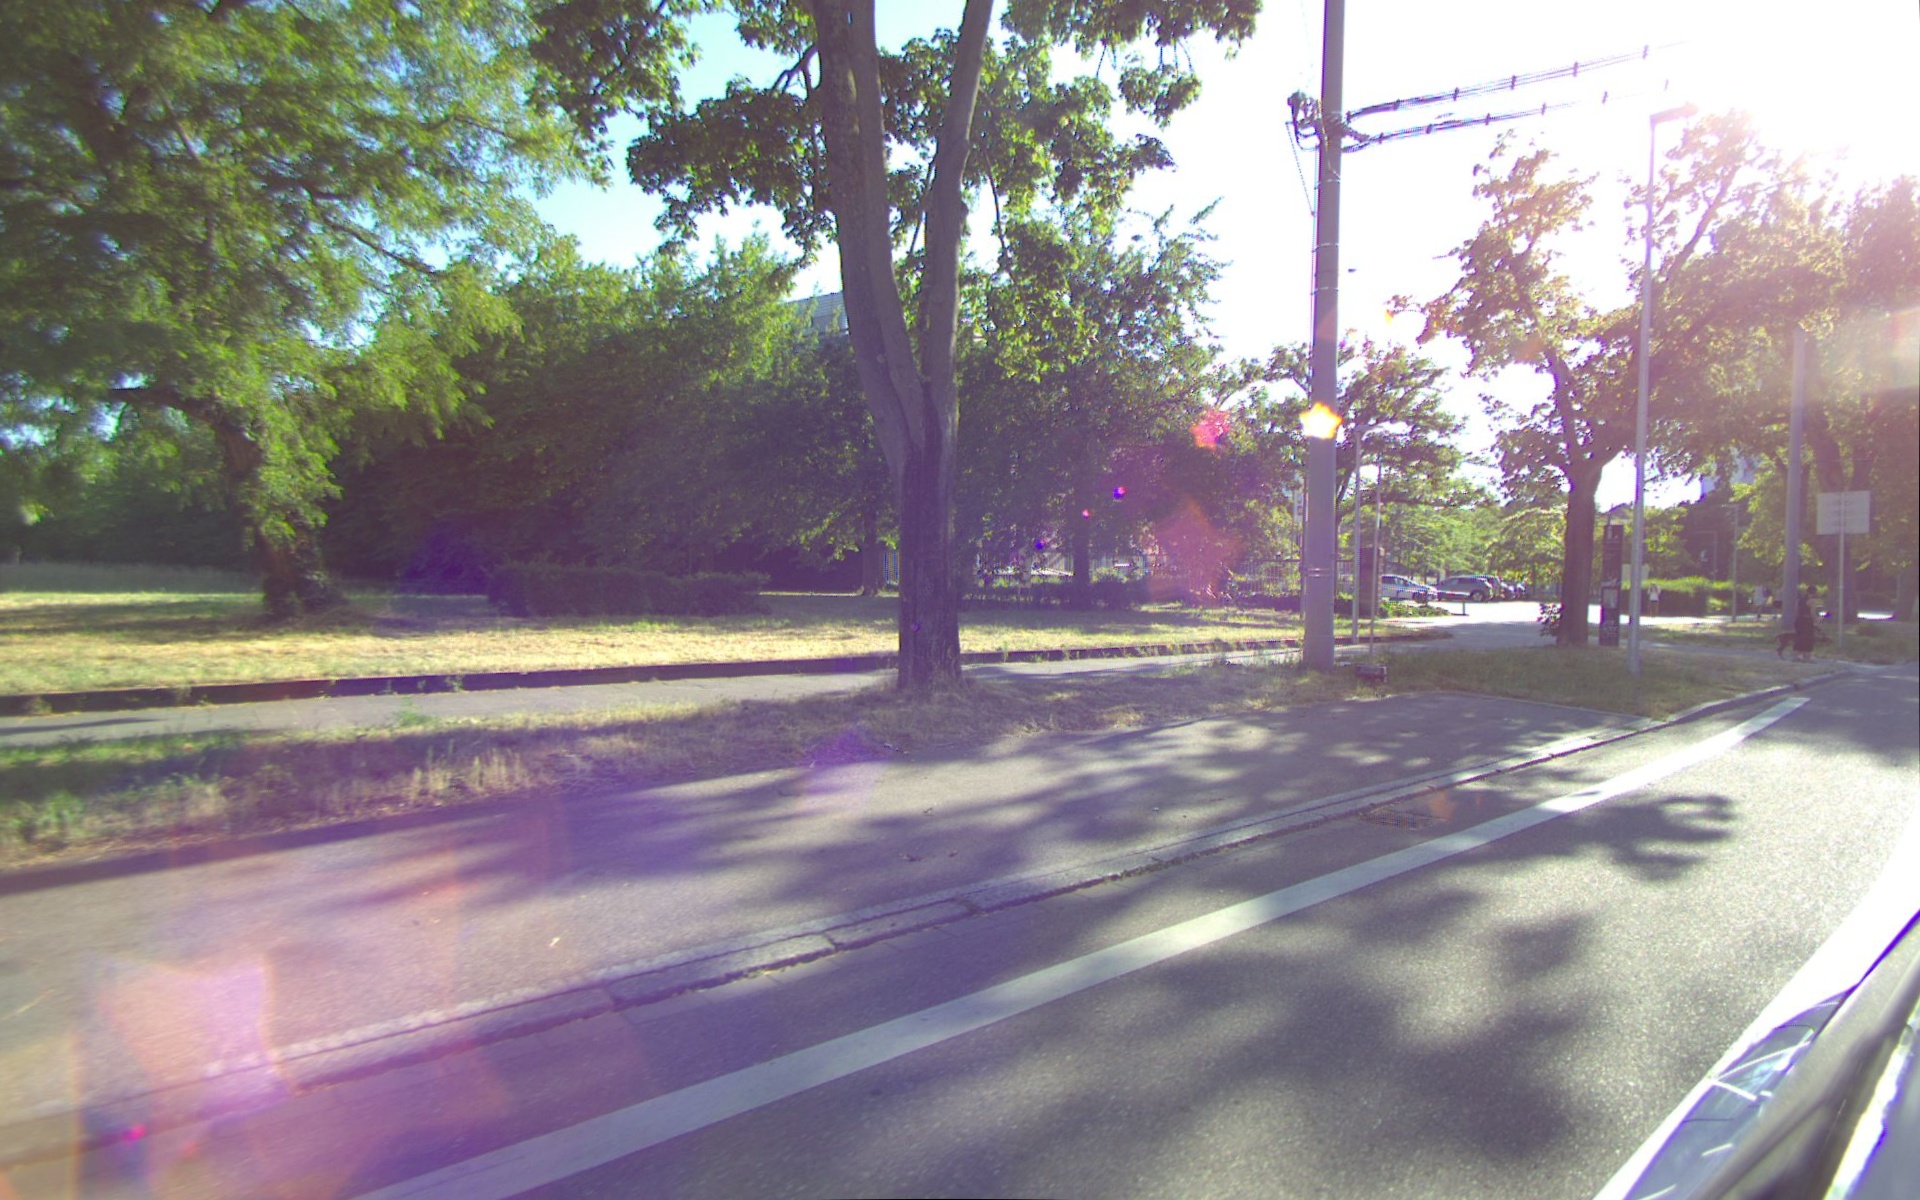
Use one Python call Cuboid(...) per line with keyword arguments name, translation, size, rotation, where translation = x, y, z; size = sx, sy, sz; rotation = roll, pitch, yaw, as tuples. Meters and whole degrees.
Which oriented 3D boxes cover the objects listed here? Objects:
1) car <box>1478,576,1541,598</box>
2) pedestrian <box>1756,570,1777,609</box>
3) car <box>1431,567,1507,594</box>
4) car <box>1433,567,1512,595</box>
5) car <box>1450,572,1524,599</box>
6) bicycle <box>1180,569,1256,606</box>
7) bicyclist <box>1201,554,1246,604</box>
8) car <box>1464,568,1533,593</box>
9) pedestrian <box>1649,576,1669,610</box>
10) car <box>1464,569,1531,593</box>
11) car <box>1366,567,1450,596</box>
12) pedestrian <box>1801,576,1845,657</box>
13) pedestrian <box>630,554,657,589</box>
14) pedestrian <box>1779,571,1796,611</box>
Cuboid(name="car", translation=(44.641, -1.052, 82.298), size=(4.350, 1.646, 1.782), rotation=(2, 2, 29))
Cuboid(name="pedestrian", translation=(38.788, -0.494, 48.651), size=(0.555, 1.864, 0.645), rotation=(0, 2, -41))
Cuboid(name="car", translation=(33.434, -1.286, 66.496), size=(4.350, 1.646, 1.782), rotation=(2, 2, 29))
Cuboid(name="car", translation=(32.159, -1.206, 63.546), size=(4.350, 1.646, 1.782), rotation=(2, 2, 29))
Cuboid(name="car", translation=(35.465, -1.012, 68.192), size=(4.350, 1.646, 1.782), rotation=(2, 2, 29))
Cuboid(name="bicycle", translation=(8.351, -0.403, 32.784), size=(2.277, 1.069, 0.611), rotation=(4, 3, 36))
Cuboid(name="bicyclist", translation=(8.494, -0.683, 32.675), size=(1.199, 1.558, 0.611), rotation=(4, 2, 36))
Cuboid(name="car", translation=(38.848, -1.411, 73.085), size=(4.350, 1.646, 1.782), rotation=(2, 2, 29))
Cuboid(name="pedestrian", translation=(30.213, -0.318, 43.750), size=(0.504, 1.460, 0.549), rotation=(0, 2, -42))
Cuboid(name="car", translation=(39.982, -1.447, 75.366), size=(4.350, 1.646, 1.782), rotation=(2, 2, 29))
Cuboid(name="car", translation=(25.572, -1.058, 57.791), size=(4.119, 1.529, 1.779), rotation=(3, 2, 33))
Cuboid(name="pedestrian", translation=(18.532, 0.344, 21.733), size=(0.527, 1.683, 0.483), rotation=(4, 2, 28))
Cuboid(name="pedestrian", translation=(-16.321, -1.461, 52.207), size=(0.823, 1.778, 1.013), rotation=(-1, 0, 40))
Cuboid(name="pedestrian", translation=(39.304, -0.445, 48.055), size=(0.555, 1.864, 0.501), rotation=(0, 2, -41))
